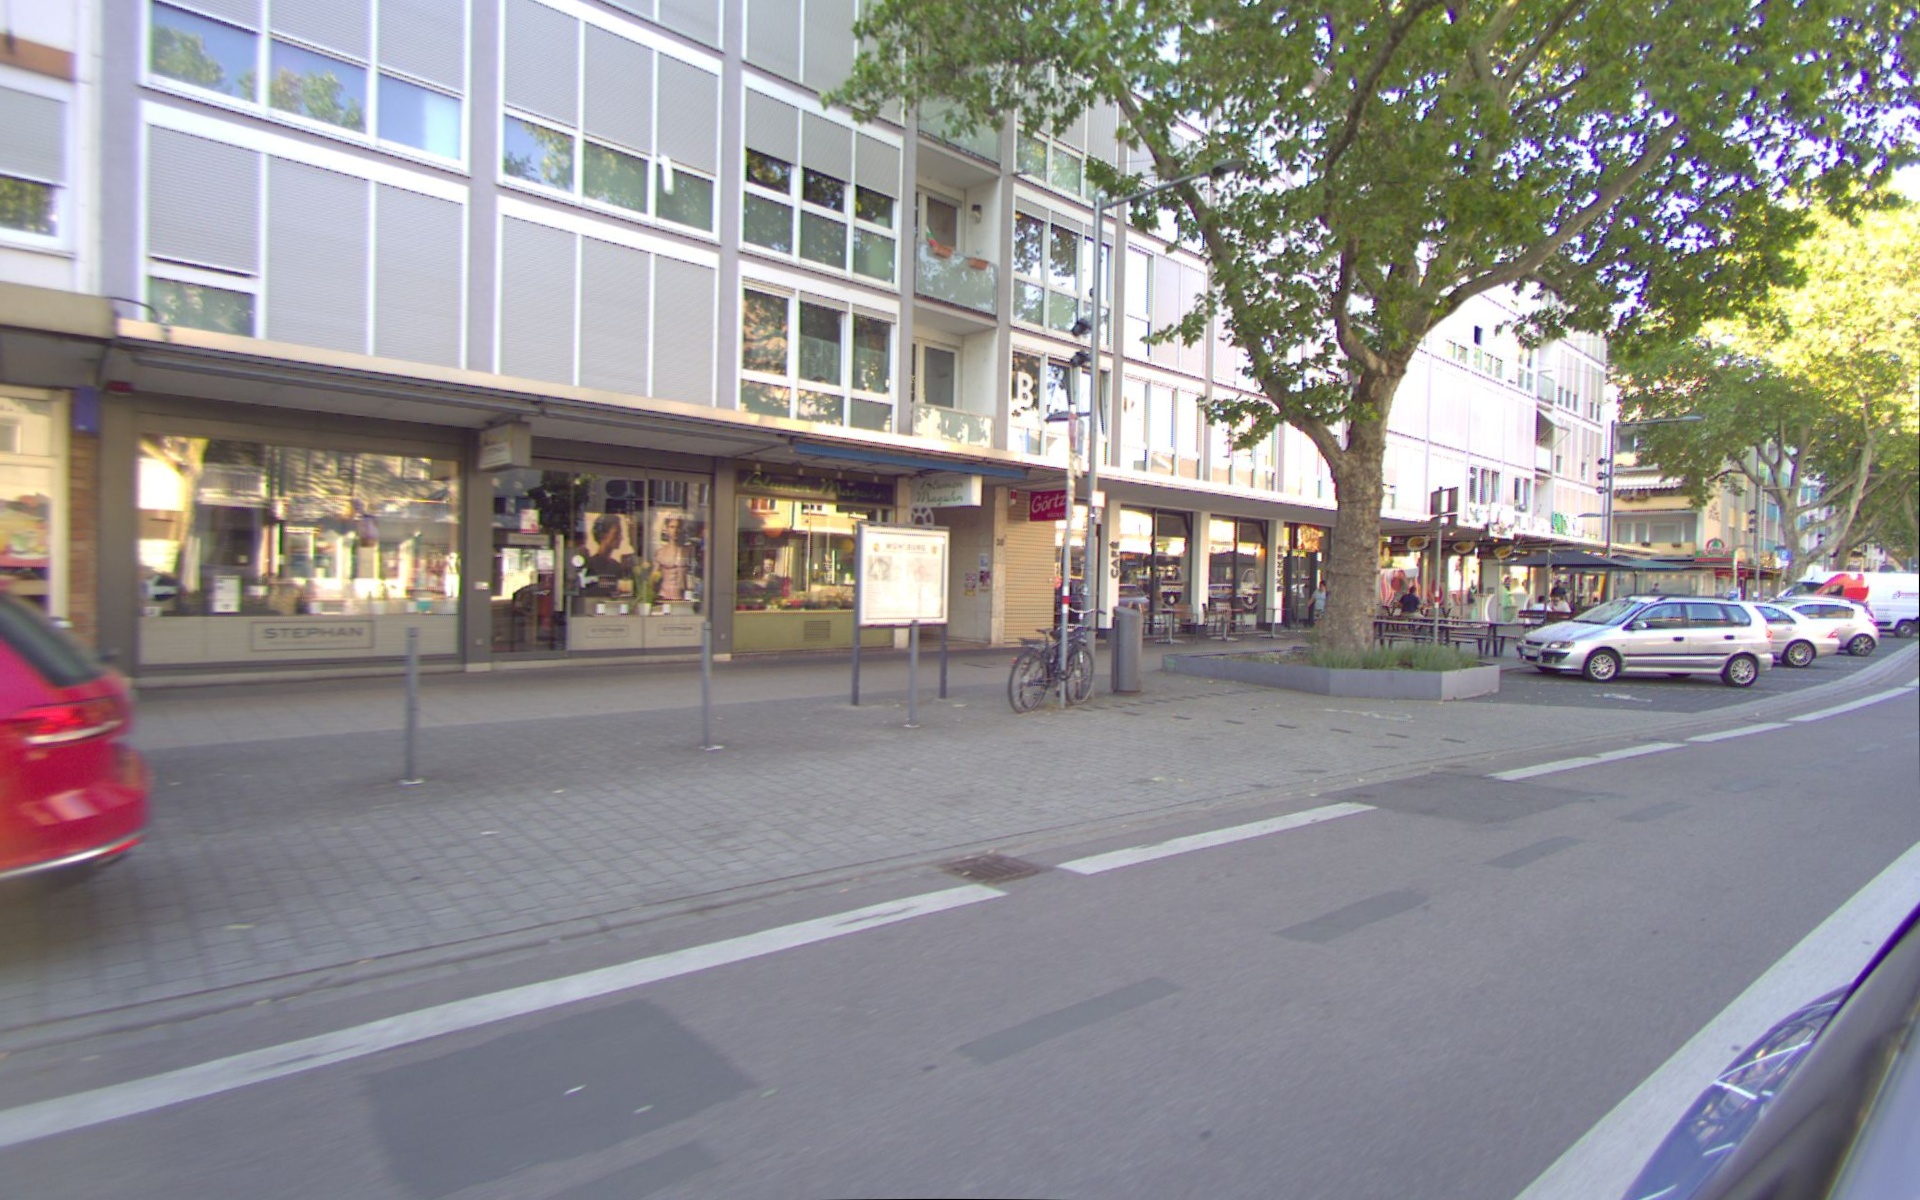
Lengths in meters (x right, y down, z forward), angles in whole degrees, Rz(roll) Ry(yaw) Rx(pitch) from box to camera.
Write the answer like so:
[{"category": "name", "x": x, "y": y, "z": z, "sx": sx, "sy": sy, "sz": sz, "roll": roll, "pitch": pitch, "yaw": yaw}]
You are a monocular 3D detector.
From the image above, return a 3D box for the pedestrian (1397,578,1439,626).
[{"category": "pedestrian", "x": 13.551, "y": 0.058, "z": 29.961, "sx": 0.945, "sy": 1.379, "sz": 0.750, "roll": 0, "pitch": 1, "yaw": -38}]

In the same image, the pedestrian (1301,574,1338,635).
[{"category": "pedestrian", "x": 8.684, "y": 0.100, "z": 24.448, "sx": 0.675, "sy": 1.417, "sz": 0.538, "roll": 0, "pitch": 4, "yaw": -43}]

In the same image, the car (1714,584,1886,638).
[{"category": "car", "x": 27.249, "y": 0.340, "z": 32.948, "sx": 3.932, "sy": 1.541, "sz": 1.657, "roll": 2, "pitch": 3, "yaw": 8}]

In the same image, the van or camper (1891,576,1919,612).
[{"category": "van or camper", "x": 69.301, "y": -0.388, "z": 71.246, "sx": 5.366, "sy": 2.500, "sz": 1.998, "roll": 1, "pitch": 1, "yaw": 5}]

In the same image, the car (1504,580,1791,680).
[{"category": "car", "x": 12.381, "y": 0.505, "z": 18.427, "sx": 3.924, "sy": 1.626, "sz": 1.810, "roll": 1, "pitch": 1, "yaw": 0}]

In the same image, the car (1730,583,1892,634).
[{"category": "car", "x": 29.492, "y": 0.269, "z": 35.175, "sx": 3.932, "sy": 1.582, "sz": 1.657, "roll": 2, "pitch": 3, "yaw": 8}]

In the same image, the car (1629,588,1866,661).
[{"category": "car", "x": 17.893, "y": 0.528, "z": 23.148, "sx": 3.928, "sy": 1.454, "sz": 1.659, "roll": 2, "pitch": 3, "yaw": 4}]

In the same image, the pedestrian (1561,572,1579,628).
[{"category": "pedestrian", "x": 22.664, "y": -0.004, "z": 37.587, "sx": 0.548, "sy": 2.039, "sz": 0.571, "roll": -1, "pitch": -1, "yaw": 33}]

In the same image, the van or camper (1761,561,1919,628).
[{"category": "van or camper", "x": 35.125, "y": -0.240, "z": 39.785, "sx": 5.370, "sy": 2.500, "sz": 1.996, "roll": 1, "pitch": 1, "yaw": 8}]

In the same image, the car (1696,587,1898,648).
[{"category": "car", "x": 23.026, "y": 0.462, "z": 27.973, "sx": 3.932, "sy": 1.454, "sz": 1.657, "roll": 2, "pitch": 3, "yaw": 8}]

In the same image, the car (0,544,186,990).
[{"category": "car", "x": -5.196, "y": 0.554, "z": 2.999, "sx": 4.489, "sy": 1.514, "sz": 1.782, "roll": 0, "pitch": 3, "yaw": -42}]

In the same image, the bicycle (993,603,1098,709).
[{"category": "bicycle", "x": 1.021, "y": 0.606, "z": 11.754, "sx": 0.293, "sy": 1.114, "sz": 1.695, "roll": 5, "pitch": 4, "yaw": 37}]

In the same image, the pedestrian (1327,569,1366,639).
[{"category": "pedestrian", "x": 9.140, "y": 0.083, "z": 23.951, "sx": 0.675, "sy": 1.610, "sz": 0.538, "roll": 0, "pitch": 4, "yaw": -43}]

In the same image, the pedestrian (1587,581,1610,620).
[{"category": "pedestrian", "x": 27.643, "y": 0.012, "z": 43.830, "sx": 0.529, "sy": 1.610, "sz": 0.686, "roll": 3, "pitch": 3, "yaw": 7}]

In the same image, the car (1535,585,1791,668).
[{"category": "car", "x": 14.358, "y": 0.507, "z": 20.834, "sx": 3.924, "sy": 1.525, "sz": 1.810, "roll": 1, "pitch": 1, "yaw": 0}]

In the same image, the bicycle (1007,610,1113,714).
[{"category": "bicycle", "x": 1.161, "y": 0.663, "z": 11.475, "sx": 0.293, "sy": 1.053, "sz": 1.695, "roll": 5, "pitch": 4, "yaw": 37}]
